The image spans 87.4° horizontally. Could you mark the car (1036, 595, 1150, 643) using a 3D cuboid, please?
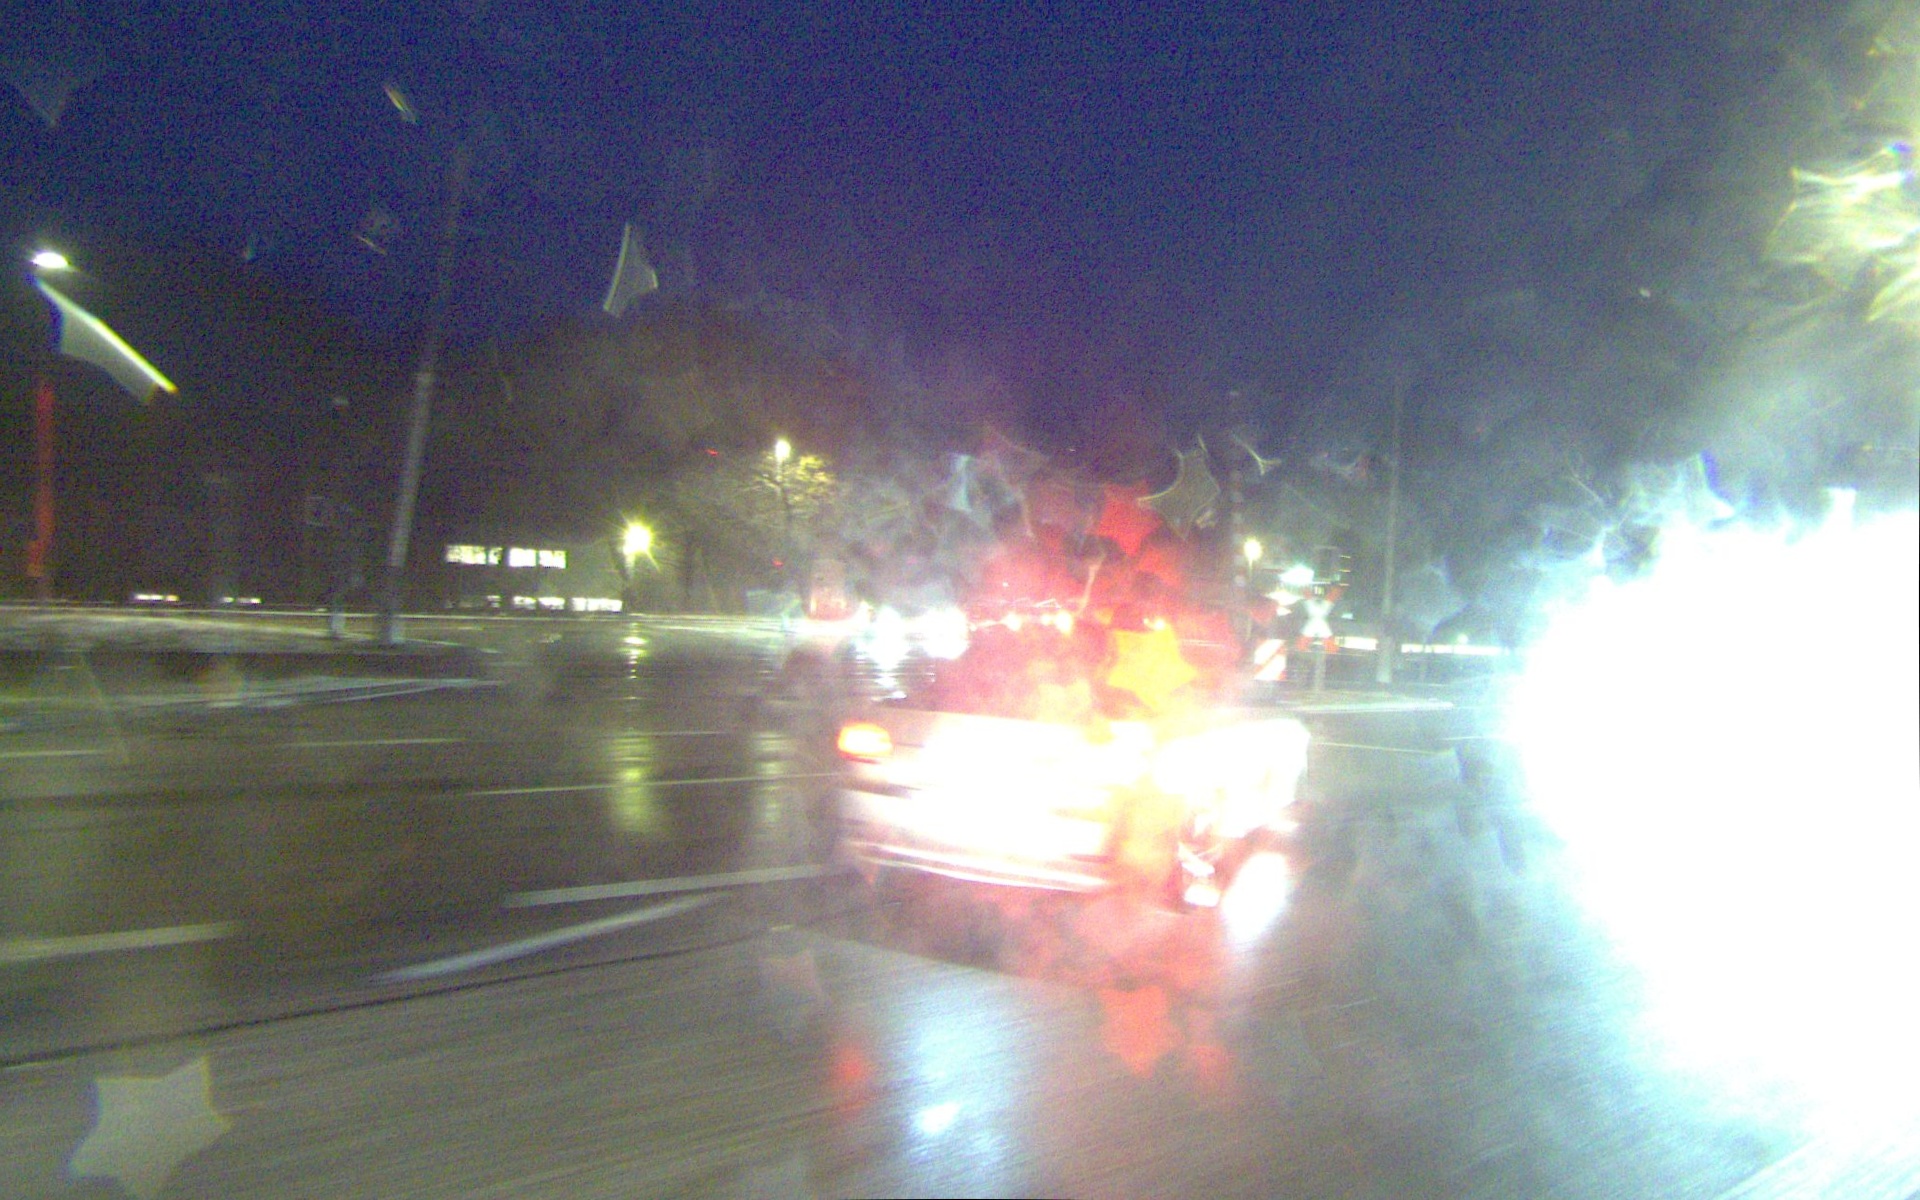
[{"bbox_3d":[7.040,1.015,52.978,5.950,2.338,1.984,2,0,-30],"label":"car"}]

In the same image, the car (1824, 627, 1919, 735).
[{"bbox_3d":[17.716,1.459,18.012,4.958,1.720,1.982,3,-1,-32],"label":"car"}]

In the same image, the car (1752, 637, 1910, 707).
[{"bbox_3d":[20.916,1.713,24.119,3.560,1.472,1.813,3,0,-31],"label":"car"}]

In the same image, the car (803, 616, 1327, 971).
[{"bbox_3d":[1.078,0.854,6.474,1.636,1.383,4.496,2,0,30],"label":"car"}]

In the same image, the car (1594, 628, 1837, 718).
[{"bbox_3d":[15.735,1.445,20.877,5.102,1.577,2.346,2,0,-32],"label":"car"}]

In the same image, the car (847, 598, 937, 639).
[{"bbox_3d":[-2.887,0.793,43.402,1.964,1.613,3.993,2,0,30],"label":"car"}]

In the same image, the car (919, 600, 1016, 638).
[{"bbox_3d":[0.381,0.912,48.193,4.403,1.715,1.834,2,0,-34],"label":"car"}]
